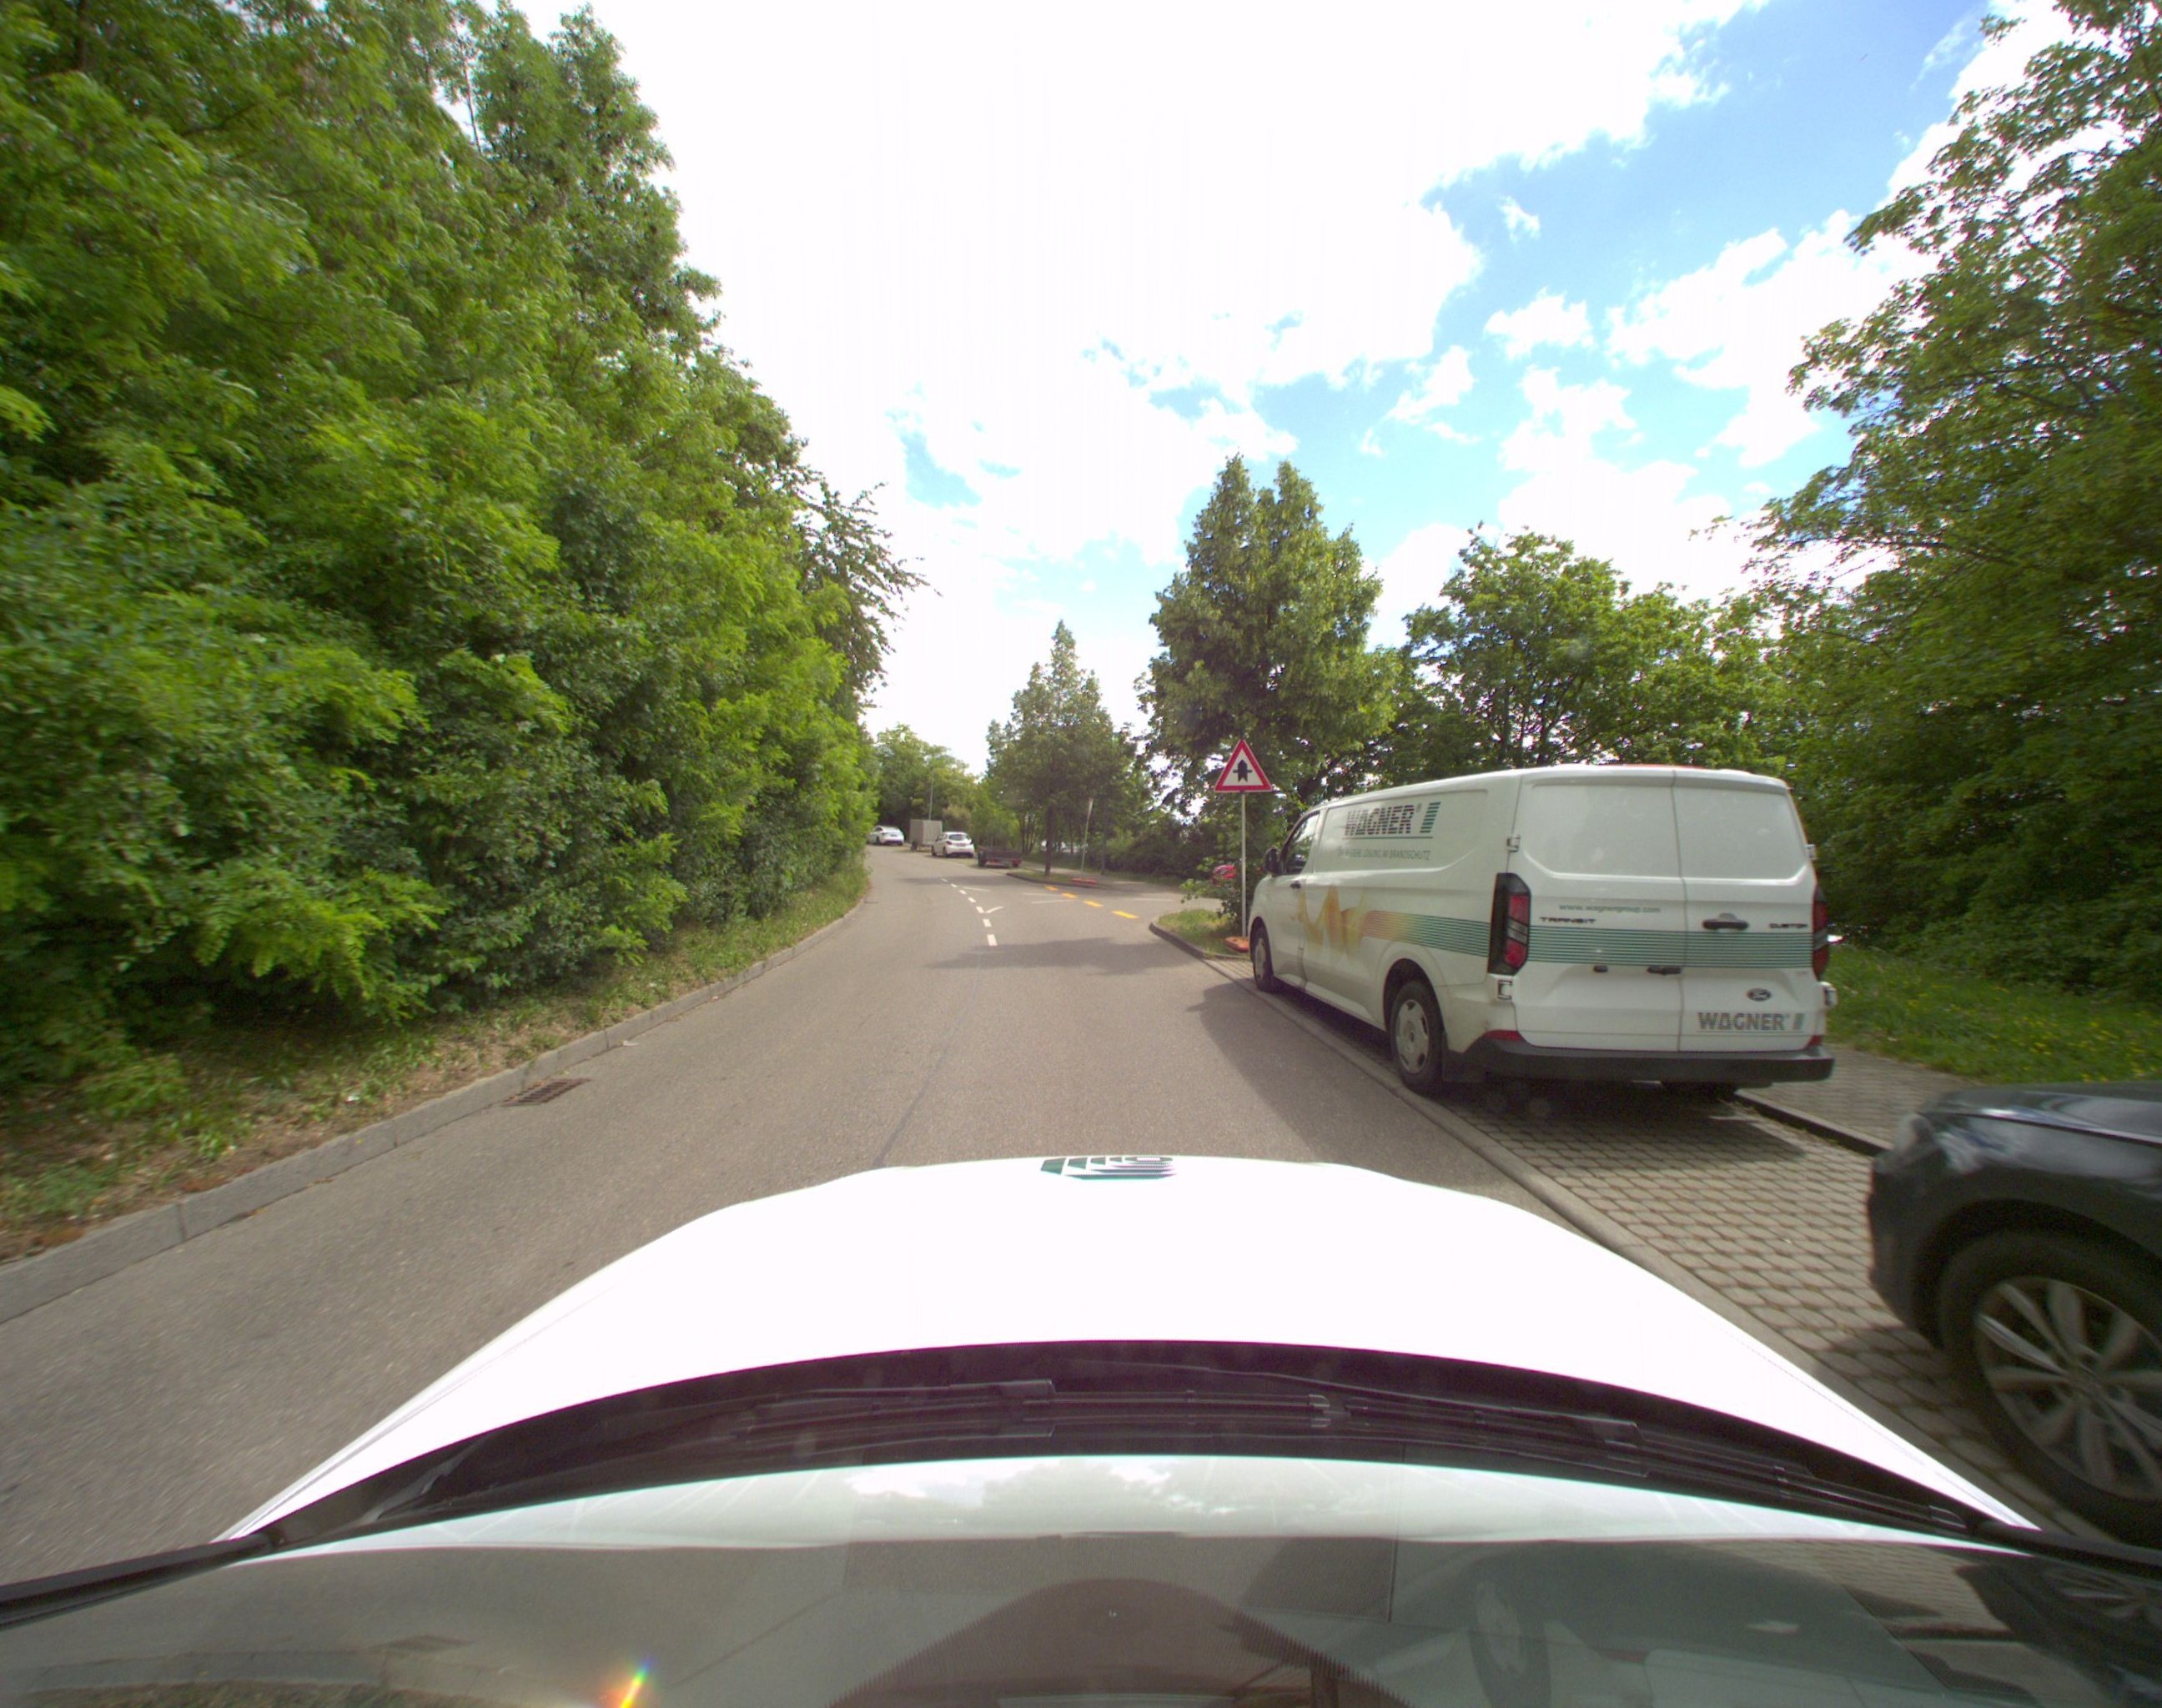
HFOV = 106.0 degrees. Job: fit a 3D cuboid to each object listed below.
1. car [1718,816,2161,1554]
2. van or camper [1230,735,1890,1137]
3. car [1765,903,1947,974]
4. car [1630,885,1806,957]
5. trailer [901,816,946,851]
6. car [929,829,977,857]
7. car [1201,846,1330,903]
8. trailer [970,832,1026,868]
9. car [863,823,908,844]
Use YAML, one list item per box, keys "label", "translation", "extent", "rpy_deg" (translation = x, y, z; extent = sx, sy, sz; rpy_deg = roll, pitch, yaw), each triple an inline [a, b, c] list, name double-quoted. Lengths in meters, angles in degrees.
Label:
- label: "car"
  translation: [3.066, 0.690, 0.759]
  extent: [1.792, 1.464, 3.999]
  rpy_deg: [3, 0, 0]
- label: "van or camper"
  translation: [2.844, 0.391, 6.594]
  extent: [1.989, 1.920, 5.259]
  rpy_deg: [2, 1, -4]
- label: "car"
  translation: [24.931, 2.687, 26.294]
  extent: [3.979, 1.595, 1.998]
  rpy_deg: [7, 1, -4]
- label: "car"
  translation: [20.095, 2.081, 25.800]
  extent: [3.979, 1.595, 1.998]
  rpy_deg: [7, 1, -4]
- label: "trailer"
  translation: [-10.405, -1.380, 53.592]
  extent: [1.751, 2.110, 3.963]
  rpy_deg: [0, 3, -30]
- label: "car"
  translation: [-7.545, -0.657, 47.875]
  extent: [1.777, 1.411, 3.970]
  rpy_deg: [1, 3, -24]
- label: "car"
  translation: [5.703, 0.611, 25.479]
  extent: [3.525, 1.480, 1.782]
  rpy_deg: [4, 2, -1]
- label: "trailer"
  translation: [-4.076, -0.233, 39.295]
  extent: [1.790, 1.525, 3.975]
  rpy_deg: [1, 3, -20]
- label: "car"
  translation: [-14.587, -1.522, 60.640]
  extent: [1.900, 1.375, 4.307]
  rpy_deg: [1, 3, -34]
